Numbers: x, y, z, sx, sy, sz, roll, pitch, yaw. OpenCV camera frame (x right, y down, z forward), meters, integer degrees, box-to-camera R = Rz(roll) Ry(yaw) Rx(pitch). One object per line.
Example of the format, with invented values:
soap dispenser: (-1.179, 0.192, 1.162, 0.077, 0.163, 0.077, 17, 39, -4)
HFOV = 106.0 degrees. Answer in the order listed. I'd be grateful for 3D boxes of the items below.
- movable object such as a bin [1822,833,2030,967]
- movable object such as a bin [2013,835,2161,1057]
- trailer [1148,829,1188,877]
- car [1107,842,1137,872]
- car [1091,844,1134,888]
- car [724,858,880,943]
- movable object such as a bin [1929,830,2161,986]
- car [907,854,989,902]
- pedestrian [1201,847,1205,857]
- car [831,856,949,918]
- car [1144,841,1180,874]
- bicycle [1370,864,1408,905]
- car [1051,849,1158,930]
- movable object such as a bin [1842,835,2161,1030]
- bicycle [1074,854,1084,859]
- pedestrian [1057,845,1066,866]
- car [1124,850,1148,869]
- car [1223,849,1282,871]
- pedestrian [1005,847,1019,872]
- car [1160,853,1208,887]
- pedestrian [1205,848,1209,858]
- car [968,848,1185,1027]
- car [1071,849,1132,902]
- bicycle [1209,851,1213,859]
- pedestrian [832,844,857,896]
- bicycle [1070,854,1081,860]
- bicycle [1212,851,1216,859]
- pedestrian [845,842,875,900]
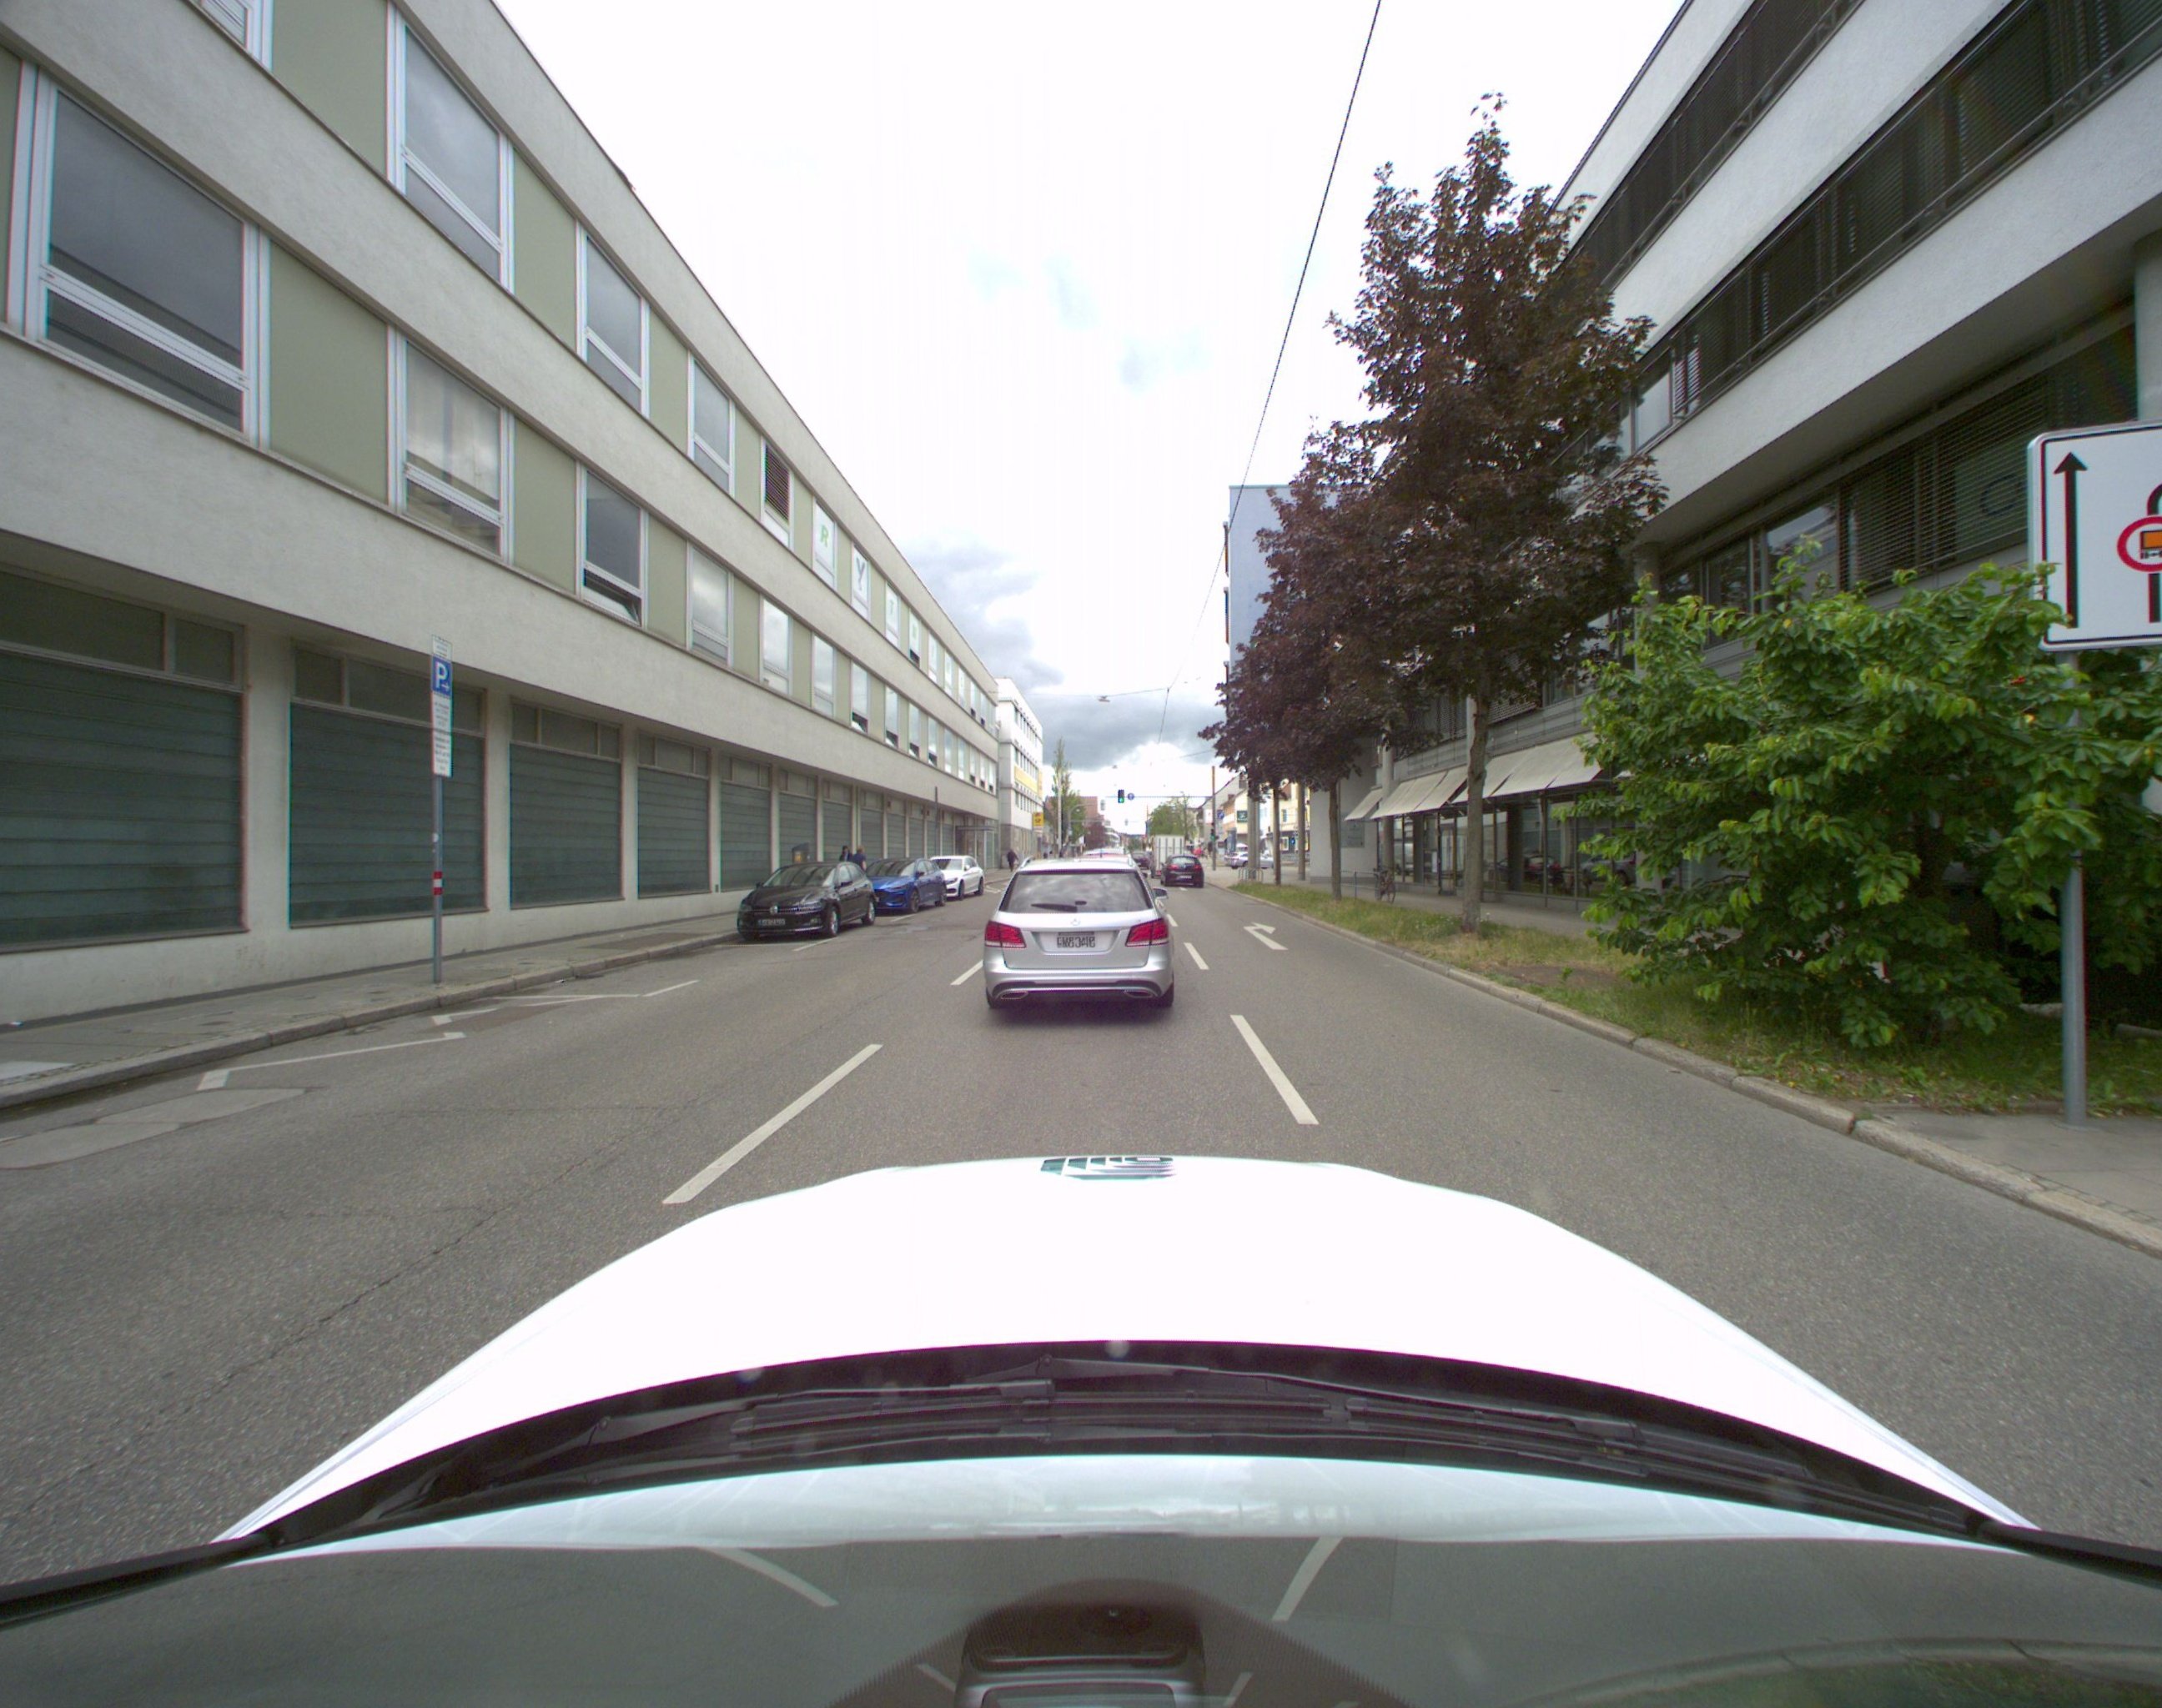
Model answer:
movable object such as a bin: (10.122, 0.519, 9.836, 1.094, 1.465, 1.333, -2, 0, 1)
movable object such as a bin: (7.745, 0.606, 5.607, 1.094, 1.465, 1.333, -2, 0, 1)
trailer: (5.031, -0.044, 47.510, 1.871, 2.613, 4.324, 2, 0, 1)
car: (2.543, 0.196, 50.996, 1.821, 1.785, 4.002, -1, 0, 2)
car: (1.313, 0.488, 35.063, 1.728, 1.759, 4.001, -1, 0, 1)
car: (-5.453, 0.840, 16.458, 1.710, 1.425, 3.871, -2, 0, 1)
movable object such as a bin: (10.090, 0.516, 8.475, 1.118, 1.465, 1.333, -2, 0, 1)
car: (-4.480, 0.770, 28.121, 1.662, 1.434, 4.559, -2, 0, 5)
pedestrian: (19.734, -0.360, 131.550, 0.577, 1.666, 0.650, 1, 0, -6)
car: (-5.026, 0.815, 22.102, 1.806, 1.426, 4.270, -2, 0, 5)
car: (5.124, 0.221, 52.134, 1.871, 1.945, 4.907, 2, 0, 1)
bicycle: (8.920, 0.864, 23.643, 0.359, 1.086, 2.028, 1, 0, 1)
car: (0.615, 0.660, 17.340, 1.724, 1.508, 4.011, -1, 0, 9)
movable object such as a bin: (7.762, 0.605, 6.980, 1.123, 1.465, 1.413, -2, 0, 1)
bicycle: (-0.350, 0.503, 153.421, 1.935, 1.029, 0.529, 1, 0, -7)
pedestrian: (-1.657, 0.128, 69.996, 0.643, 1.718, 0.785, 1, 0, 10)
car: (4.444, 0.413, 66.441, 1.728, 1.410, 4.001, -1, 1, 1)
car: (14.201, 0.497, 67.419, 4.564, 1.605, 1.727, 2, 0, -23)
pedestrian: (-4.873, 0.371, 57.483, 0.858, 1.718, 1.032, 1, 0, 1)
car: (4.562, 0.677, 36.588, 1.728, 1.410, 4.001, -1, 1, 1)
pedestrian: (19.818, -0.176, 128.294, 0.576, 1.469, 0.651, 1, 0, 0)
car: (0.013, 0.704, 9.049, 1.839, 1.508, 4.172, -1, 0, 1)
car: (0.628, 0.617, 25.396, 1.728, 1.508, 4.001, -1, 0, 1)
bicycle: (20.283, 0.152, 126.963, 0.446, 1.091, 2.152, -1, 0, 4)
pedestrian: (-7.968, 0.539, 27.457, 0.587, 1.718, 0.650, -1, 0, 1)
bicycle: (-0.990, 0.501, 150.121, 1.935, 1.029, 0.529, 1, 0, -7)
bicycle: (20.730, 0.140, 126.940, 0.446, 1.107, 2.152, -1, 0, 4)
pedestrian: (-6.777, 0.507, 24.983, 0.587, 1.718, 1.055, -1, 0, 1)
